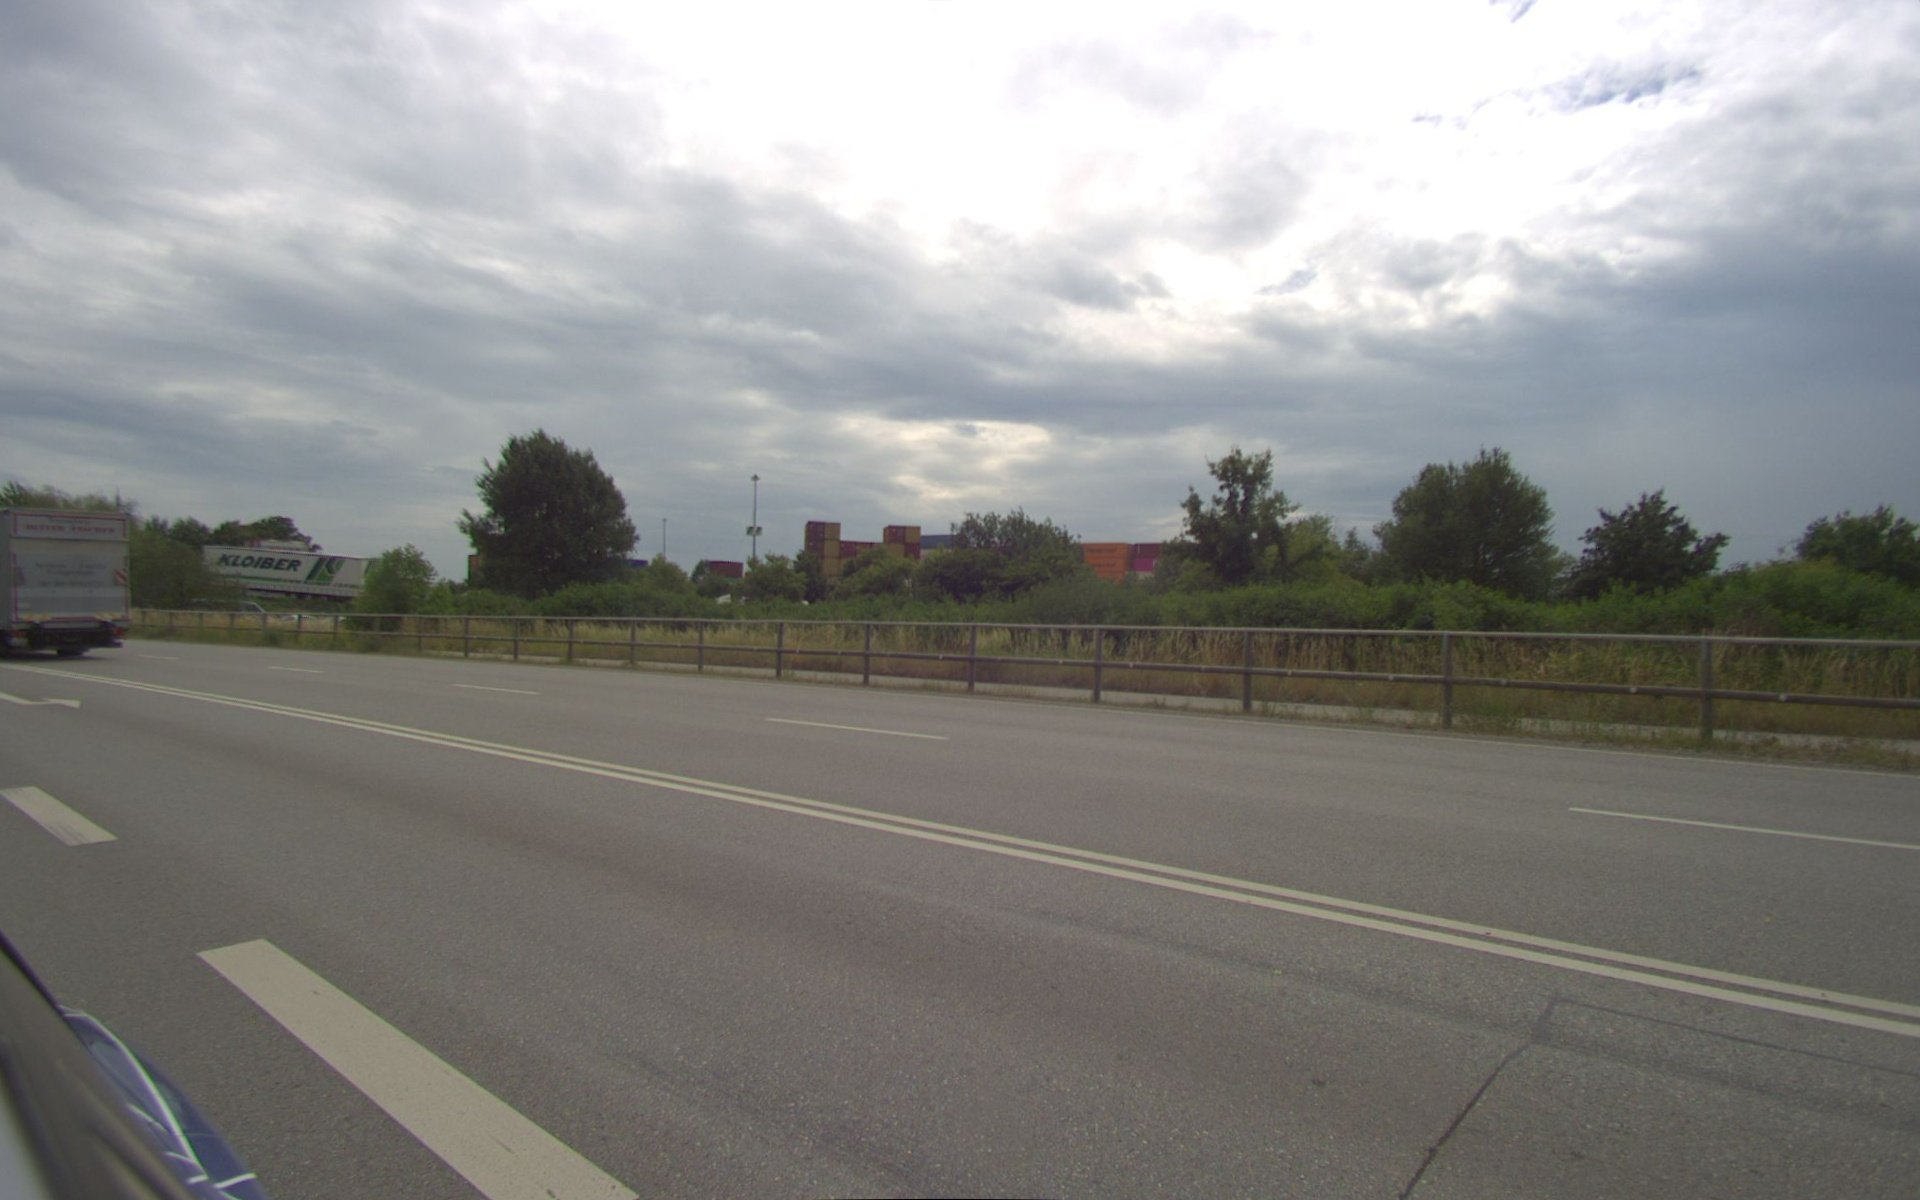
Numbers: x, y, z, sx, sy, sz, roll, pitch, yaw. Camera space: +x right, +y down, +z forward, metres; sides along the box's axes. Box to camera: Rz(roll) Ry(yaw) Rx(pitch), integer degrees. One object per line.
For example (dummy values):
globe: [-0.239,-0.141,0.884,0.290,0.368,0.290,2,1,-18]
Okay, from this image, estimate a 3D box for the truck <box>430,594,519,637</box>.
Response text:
truck: [-50.346,1.576,104.978,8.245,4.325,3.225,0,0,16]

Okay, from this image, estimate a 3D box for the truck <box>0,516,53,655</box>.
truck: [-30.142,-0.424,31.022,3.989,4.127,2.519,0,-1,33]

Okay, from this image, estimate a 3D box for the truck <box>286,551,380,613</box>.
truck: [-51.890,-1.502,83.851,6.107,5.034,2.802,1,0,2]

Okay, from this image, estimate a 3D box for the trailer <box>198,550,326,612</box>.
trailer: [-57.968,-1.559,84.140,8.864,5.034,2.805,1,0,3]

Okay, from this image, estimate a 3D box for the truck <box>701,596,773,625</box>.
truck: [-21.180,0.997,96.521,6.549,2.702,2.658,1,0,-8]

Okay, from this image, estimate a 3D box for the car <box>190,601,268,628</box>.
car: [-52.455,1.011,72.630,4.472,1.890,2.004,0,0,-37]

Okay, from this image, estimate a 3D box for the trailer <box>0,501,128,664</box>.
trailer: [-26.268,-0.426,28.496,6.715,4.132,2.507,0,-1,33]
